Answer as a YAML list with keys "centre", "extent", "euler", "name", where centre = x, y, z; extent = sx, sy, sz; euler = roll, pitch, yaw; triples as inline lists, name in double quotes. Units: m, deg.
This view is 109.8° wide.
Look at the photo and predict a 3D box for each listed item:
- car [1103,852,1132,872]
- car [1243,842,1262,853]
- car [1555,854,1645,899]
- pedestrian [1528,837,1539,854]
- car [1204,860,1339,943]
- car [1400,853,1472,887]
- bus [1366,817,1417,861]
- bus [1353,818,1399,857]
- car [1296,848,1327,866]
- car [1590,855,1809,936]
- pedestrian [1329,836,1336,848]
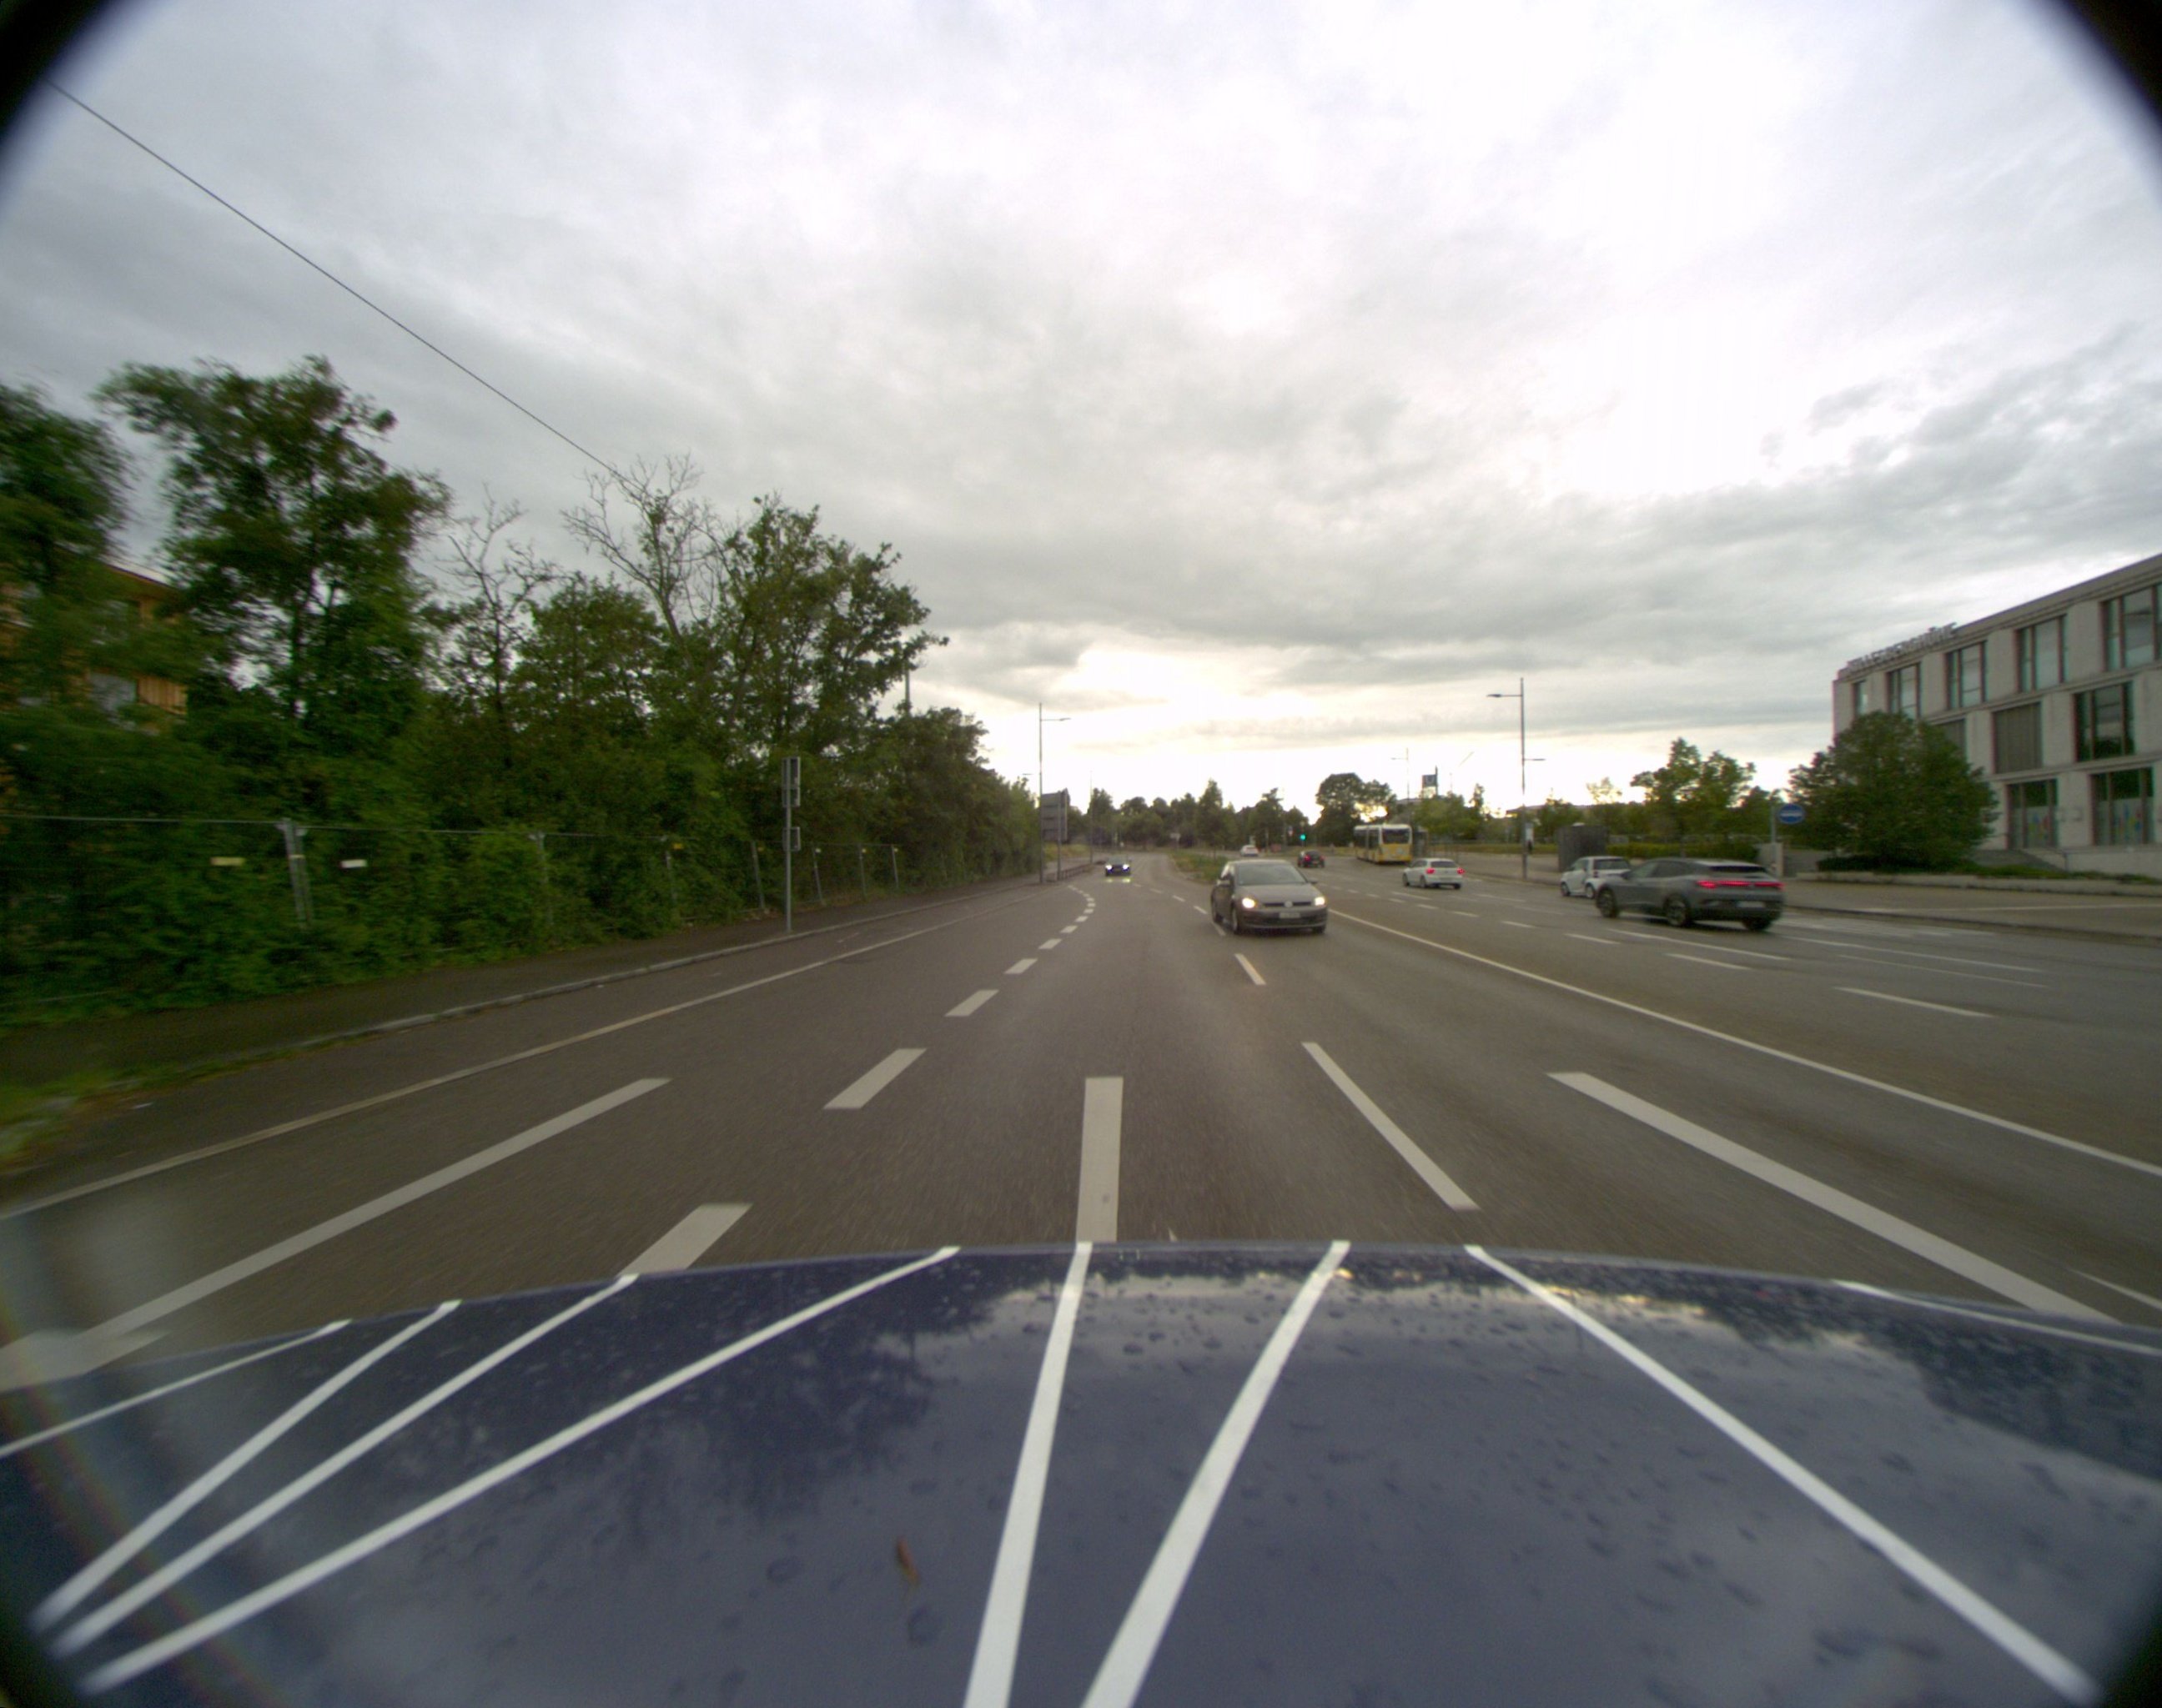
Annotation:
- centre: [2.623, 0.597, 55.230]
  extent: [1.989, 1.391, 4.177]
  euler: [-1, -1, 2]
  name: "car"
- centre: [22.647, -0.892, 100.453]
  extent: [1.997, 1.410, 4.514]
  euler: [-1, 1, 6]
  name: "car"
- centre: [19.686, 0.819, 28.962]
  extent: [1.617, 1.499, 2.973]
  euler: [-2, 1, 6]
  name: "car"
- centre: [40.624, -0.729, 68.217]
  extent: [0.490, 1.520, 0.665]
  euler: [-1, -1, 1]
  name: "pedestrian"
- centre: [3.832, 0.892, 16.049]
  extent: [1.810, 1.421, 4.197]
  euler: [-2, 0, 1]
  name: "car"
- centre: [17.105, 0.711, 36.824]
  extent: [1.877, 1.422, 4.177]
  euler: [2, 1, 6]
  name: "car"
- centre: [26.776, -1.342, 65.901]
  extent: [2.825, 3.453, 8.237]
  euler: [-2, 2, 14]
  name: "bus"
- centre: [28.853, -1.662, 74.761]
  extent: [2.825, 3.453, 9.981]
  euler: [-2, 2, 14]
  name: "bus"
- centre: [19.551, 0.198, 64.649]
  extent: [1.850, 1.454, 3.868]
  euler: [0, 1, 6]
  name: "car"
- centre: [14.543, 0.874, 18.304]
  extent: [1.835, 1.563, 4.595]
  euler: [2, 1, 6]
  name: "car"
- centre: [34.478, -1.624, 104.266]
  extent: [0.615, 1.584, 0.813]
  euler: [-1, -1, 2]
  name: "pedestrian"
